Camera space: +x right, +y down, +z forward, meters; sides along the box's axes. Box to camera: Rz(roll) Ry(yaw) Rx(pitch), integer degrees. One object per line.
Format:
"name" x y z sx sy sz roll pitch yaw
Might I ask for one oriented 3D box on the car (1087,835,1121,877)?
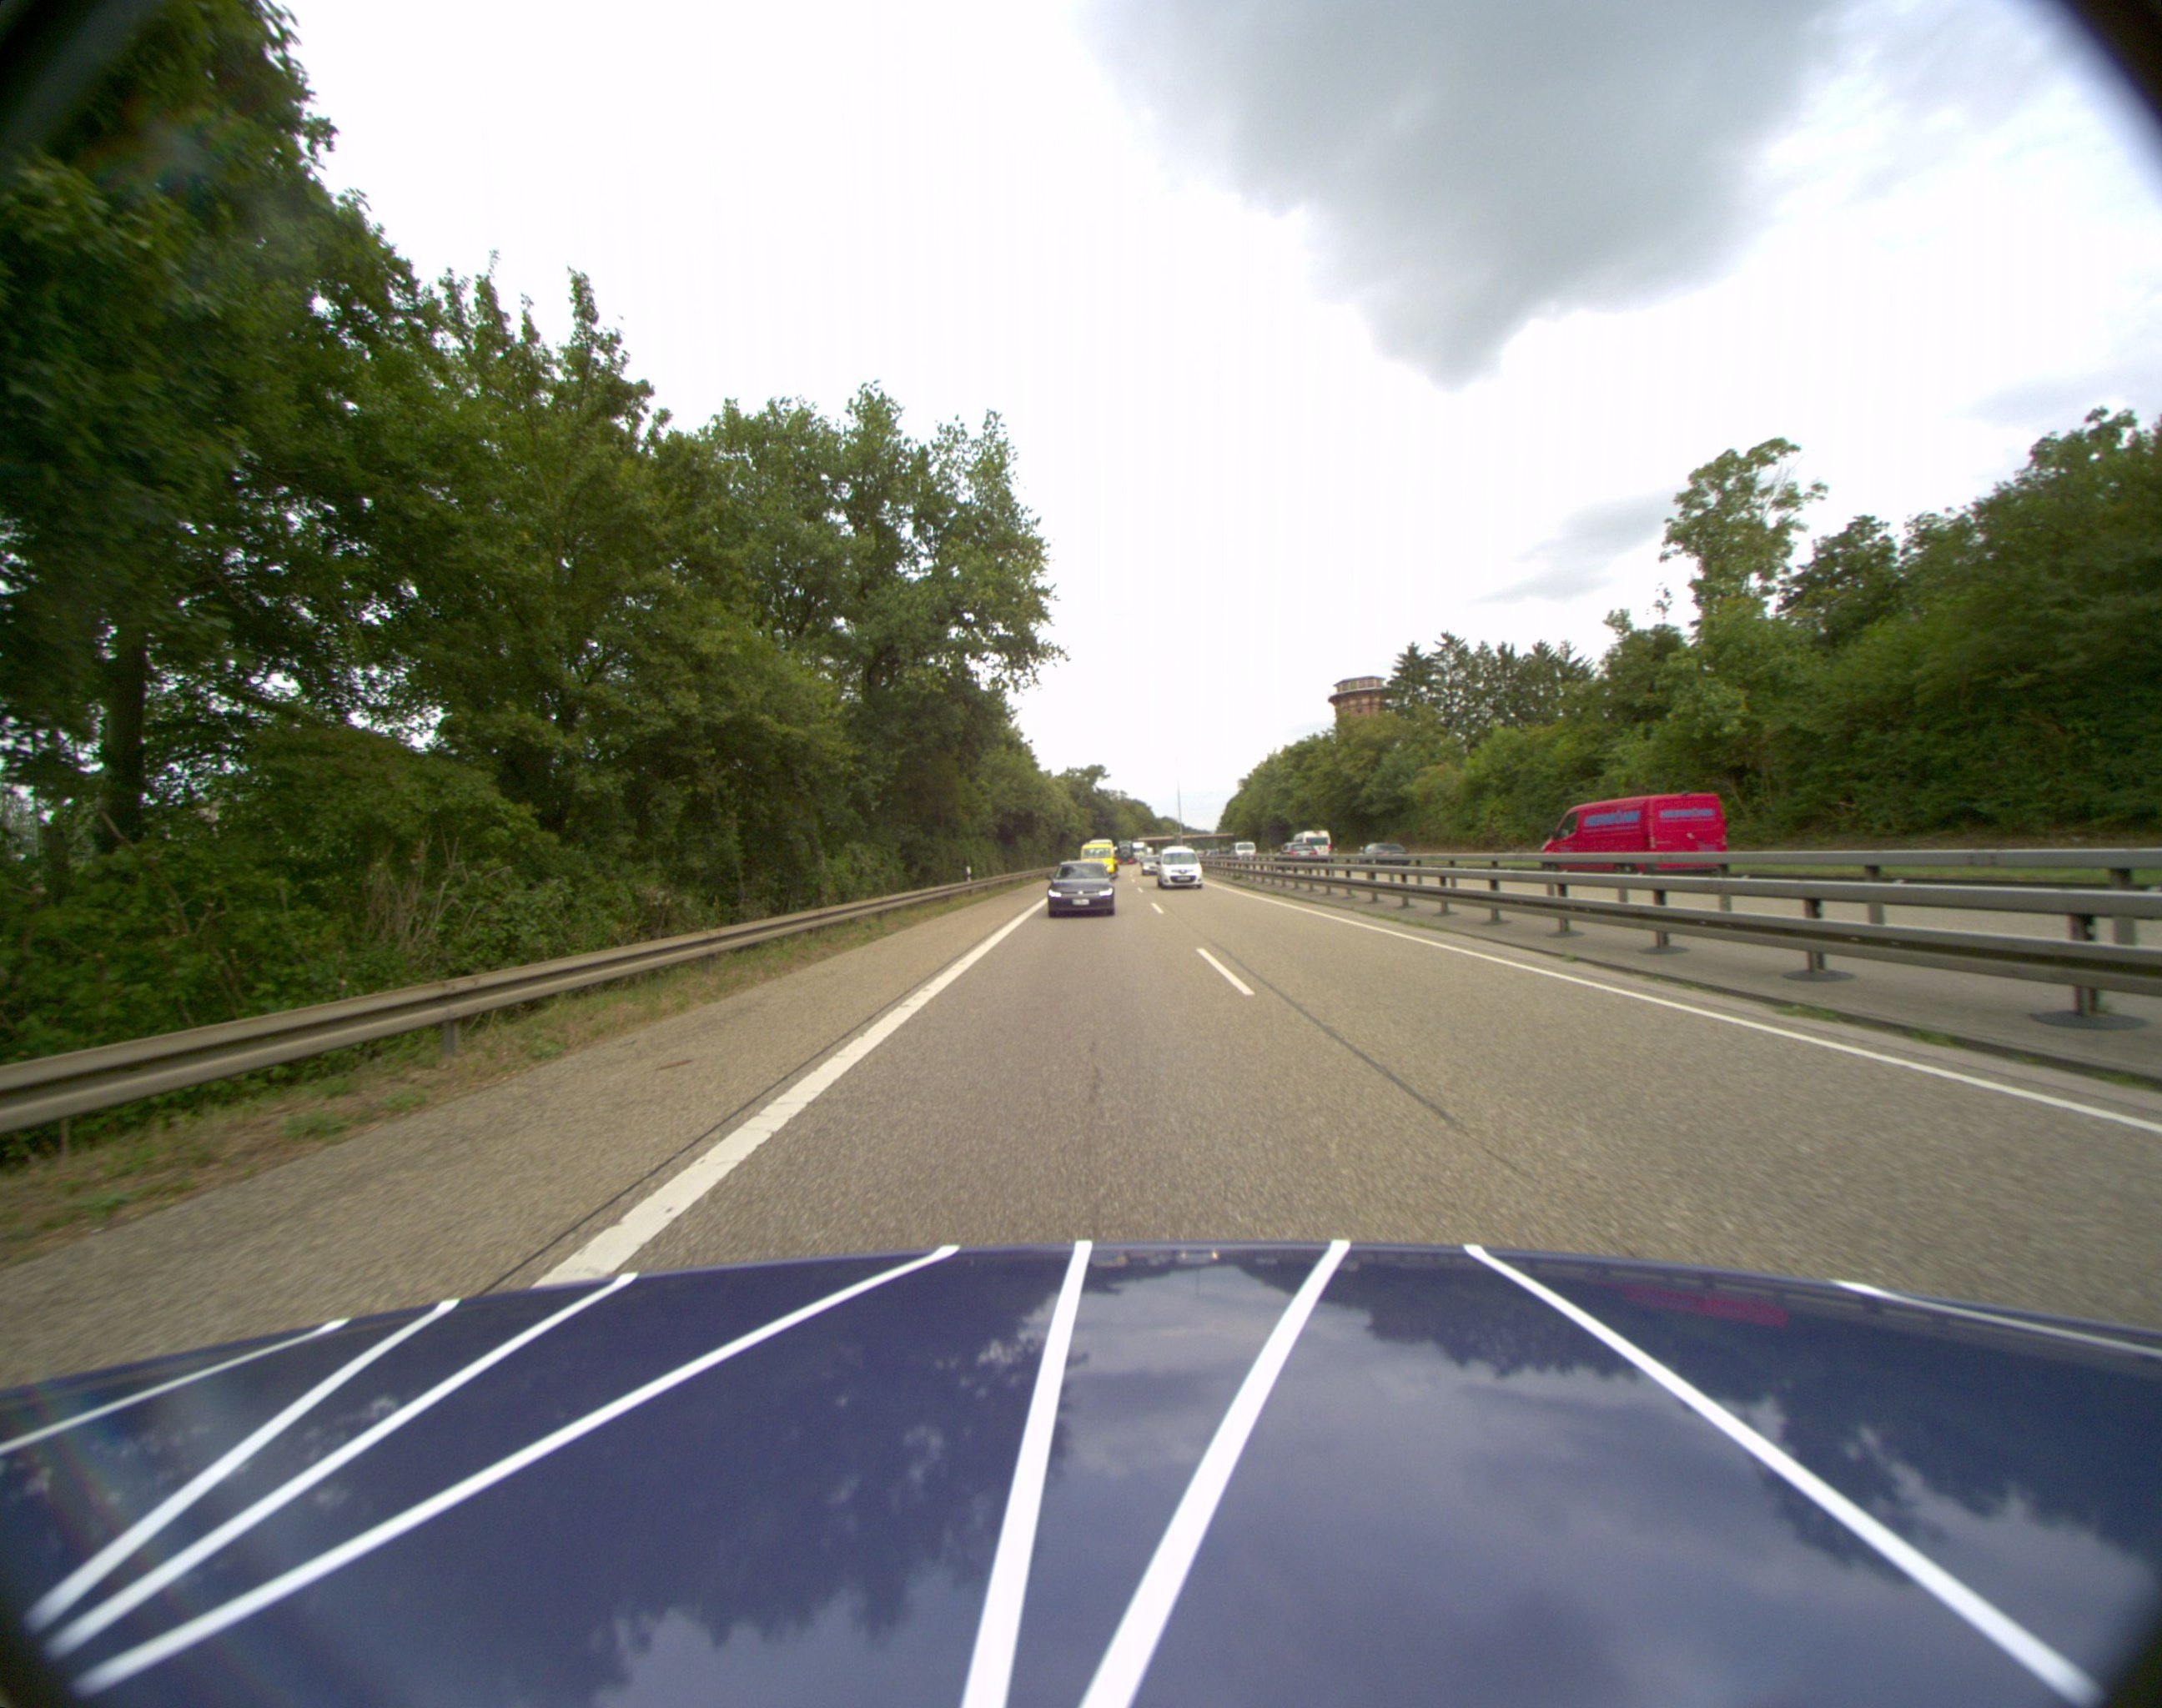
"car" 1.572 0.117 54.079 2.207 2.732 6.167 -2 1 0

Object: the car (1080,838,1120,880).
"car" 1.098 0.242 45.803 2.248 2.334 5.224 -2 1 0

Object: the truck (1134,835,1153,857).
"truck" 13.551 -1.721 163.091 3.097 4.462 12.216 -1 1 9

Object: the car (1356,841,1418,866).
"car" 16.709 -0.037 41.678 1.779 1.289 4.107 -2 0 1

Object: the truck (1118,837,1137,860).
"truck" 7.689 -0.922 125.240 2.547 3.564 6.460 -1 1 9

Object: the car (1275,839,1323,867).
"car" 12.874 -0.072 45.060 1.786 1.554 4.014 -2 0 1

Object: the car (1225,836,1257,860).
"car" 13.927 -0.488 66.401 1.826 1.972 5.058 -2 0 2

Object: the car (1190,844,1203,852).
"car" 19.513 -1.022 128.222 1.658 1.270 4.714 -2 0 4

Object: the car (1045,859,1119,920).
"car" 0.072 0.912 21.251 1.800 1.398 4.639 -2 1 1

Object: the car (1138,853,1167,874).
"car" 5.276 0.656 56.432 1.772 1.416 4.198 -2 0 0

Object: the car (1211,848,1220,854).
"car" 33.578 -0.726 189.173 1.815 1.441 4.058 -2 0 4

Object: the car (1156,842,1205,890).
"car" 4.422 0.476 34.263 1.821 1.993 4.424 -2 1 3

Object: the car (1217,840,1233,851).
"car" 24.276 -1.379 128.313 2.039 1.793 5.124 -2 0 4

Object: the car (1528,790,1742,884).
"car" 15.142 -0.440 21.271 2.071 2.243 5.374 -2 1 0

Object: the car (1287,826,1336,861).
"car" 18.208 -0.814 60.397 2.317 2.596 5.553 -2 1 2

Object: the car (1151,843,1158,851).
"car" 18.717 -1.782 193.817 1.679 1.840 4.002 -1 1 9
